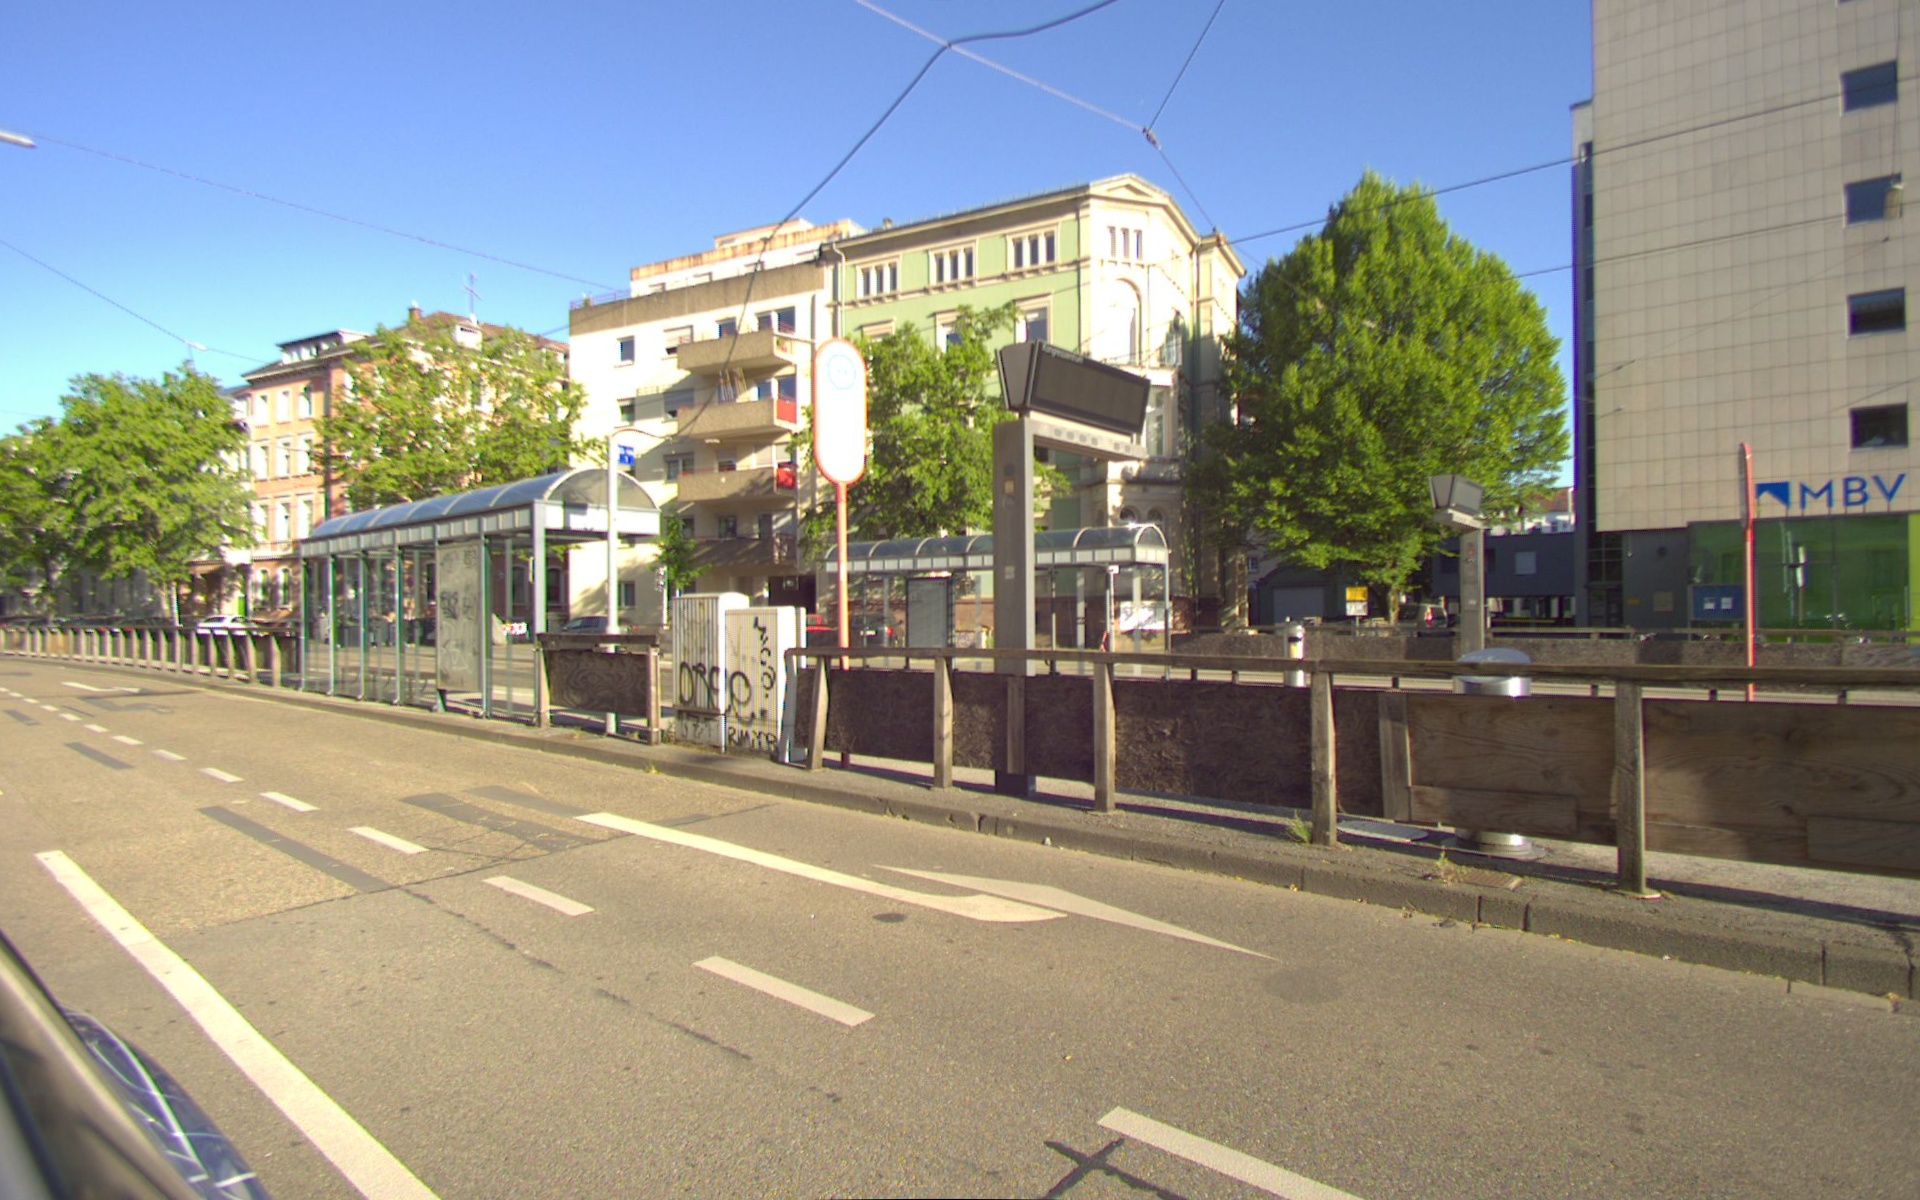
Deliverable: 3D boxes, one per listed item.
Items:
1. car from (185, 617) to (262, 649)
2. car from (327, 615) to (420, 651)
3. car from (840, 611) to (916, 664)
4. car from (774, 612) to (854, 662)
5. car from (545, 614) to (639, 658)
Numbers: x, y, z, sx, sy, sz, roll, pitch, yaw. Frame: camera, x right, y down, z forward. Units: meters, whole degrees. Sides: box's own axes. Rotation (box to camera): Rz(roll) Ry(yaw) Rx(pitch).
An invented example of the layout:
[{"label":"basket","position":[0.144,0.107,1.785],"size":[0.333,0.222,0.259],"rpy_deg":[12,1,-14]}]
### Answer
[{"label":"car","position":[-39.396,1.745,54.220],"size":[1.607,1.579,3.601],"rpy_deg":[-1,0,-2]},{"label":"car","position":[-28.396,1.565,49.062],"size":[1.626,1.579,3.560],"rpy_deg":[-1,0,33]},{"label":"car","position":[-2.646,1.191,33.375],"size":[1.614,1.579,3.588],"rpy_deg":[-1,0,11]},{"label":"car","position":[-4.919,1.220,34.572],"size":[1.614,1.579,3.588],"rpy_deg":[-1,0,11]},{"label":"car","position":[-14.031,1.339,38.524],"size":[3.592,1.579,1.612],"rpy_deg":[-1,0,35]}]
